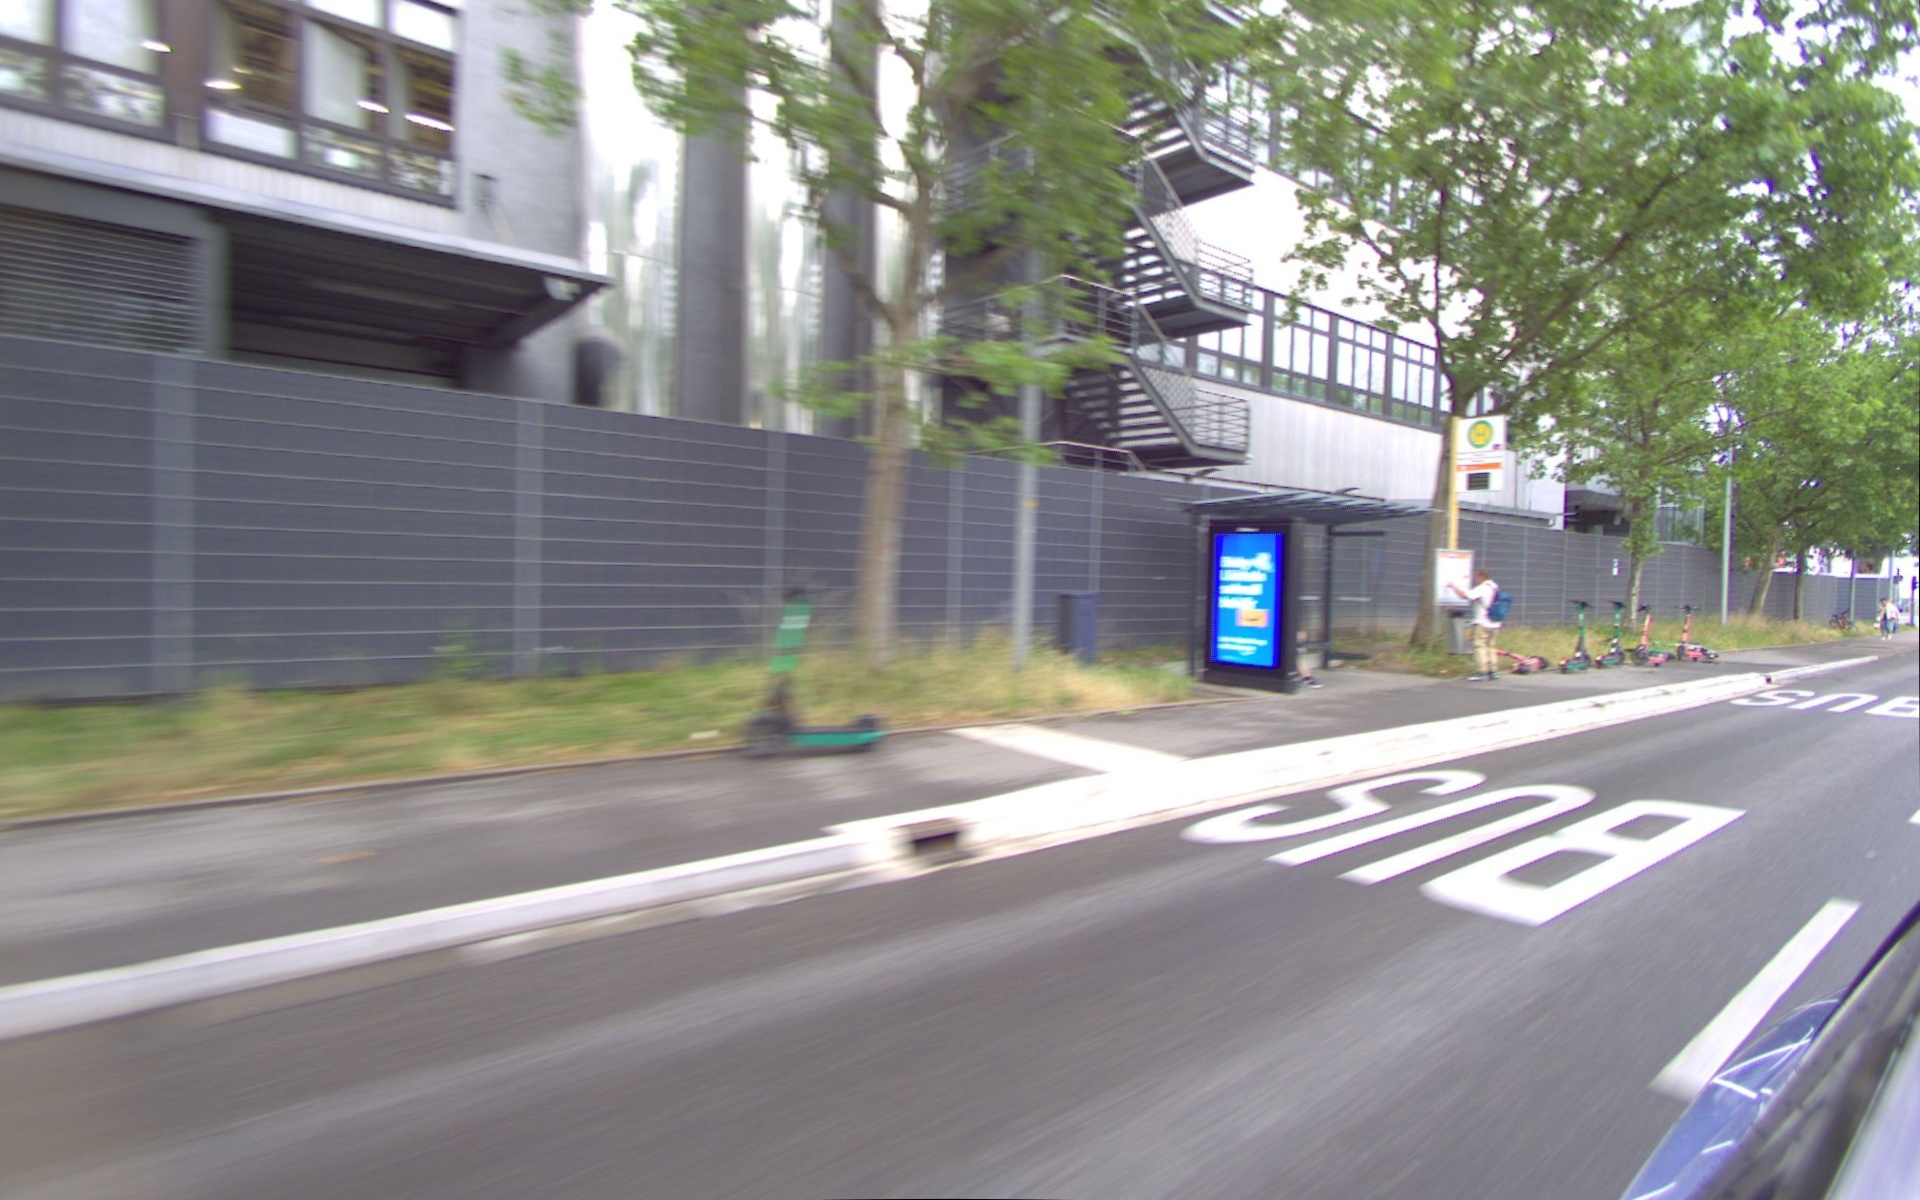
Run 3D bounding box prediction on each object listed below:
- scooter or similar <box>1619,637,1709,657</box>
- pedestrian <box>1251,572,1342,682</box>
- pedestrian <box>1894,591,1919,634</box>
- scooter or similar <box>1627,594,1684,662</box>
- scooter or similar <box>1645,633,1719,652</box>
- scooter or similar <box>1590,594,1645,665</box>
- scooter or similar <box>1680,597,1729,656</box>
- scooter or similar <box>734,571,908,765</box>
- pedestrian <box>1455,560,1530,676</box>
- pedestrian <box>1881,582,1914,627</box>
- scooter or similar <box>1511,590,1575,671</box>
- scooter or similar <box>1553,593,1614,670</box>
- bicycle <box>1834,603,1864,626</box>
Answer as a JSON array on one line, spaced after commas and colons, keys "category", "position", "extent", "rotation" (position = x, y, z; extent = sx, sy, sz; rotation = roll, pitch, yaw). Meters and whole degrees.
[{"category": "scooter or similar", "position": [15.578, 1.041, 22.426], "extent": [1.231, 0.349, 1.104], "rotation": [1, 2, -17]}, {"category": "pedestrian", "position": [4.618, 0.344, 13.913], "extent": [0.686, 1.433, 0.932], "rotation": [1, 2, -41]}, {"category": "pedestrian", "position": [38.151, 0.492, 40.651], "extent": [0.818, 1.686, 0.723], "rotation": [0, 4, -41]}, {"category": "scooter or similar", "position": [14.045, 0.559, 20.431], "extent": [1.340, 1.311, 0.438], "rotation": [1, 2, -33]}, {"category": "scooter or similar", "position": [17.305, 1.007, 24.284], "extent": [1.169, 0.314, 1.194], "rotation": [2, 2, 22]}, {"category": "scooter or similar", "position": [12.518, 0.546, 19.266], "extent": [1.276, 1.311, 0.437], "rotation": [1, 2, -37]}, {"category": "scooter or similar", "position": [16.844, 0.593, 22.885], "extent": [1.275, 1.301, 0.438], "rotation": [1, 2, -33]}, {"category": "scooter or similar", "position": [-1.003, 0.466, 7.436], "extent": [1.222, 1.324, 0.330], "rotation": [1, 2, -36]}, {"category": "pedestrian", "position": [8.271, 0.265, 15.716], "extent": [0.716, 1.731, 0.778], "rotation": [1, 2, -40]}, {"category": "pedestrian", "position": [35.790, 0.159, 38.626], "extent": [0.818, 1.638, 0.723], "rotation": [0, 4, -41]}, {"category": "scooter or similar", "position": [9.820, 0.496, 17.044], "extent": [1.276, 1.311, 0.437], "rotation": [1, 2, -37]}, {"category": "scooter or similar", "position": [10.986, 0.537, 17.819], "extent": [1.276, 1.311, 0.437], "rotation": [1, 2, -37]}, {"category": "bicycle", "position": [37.240, 0.597, 42.387], "extent": [1.872, 0.886, 0.727], "rotation": [0, 2, -41]}]
